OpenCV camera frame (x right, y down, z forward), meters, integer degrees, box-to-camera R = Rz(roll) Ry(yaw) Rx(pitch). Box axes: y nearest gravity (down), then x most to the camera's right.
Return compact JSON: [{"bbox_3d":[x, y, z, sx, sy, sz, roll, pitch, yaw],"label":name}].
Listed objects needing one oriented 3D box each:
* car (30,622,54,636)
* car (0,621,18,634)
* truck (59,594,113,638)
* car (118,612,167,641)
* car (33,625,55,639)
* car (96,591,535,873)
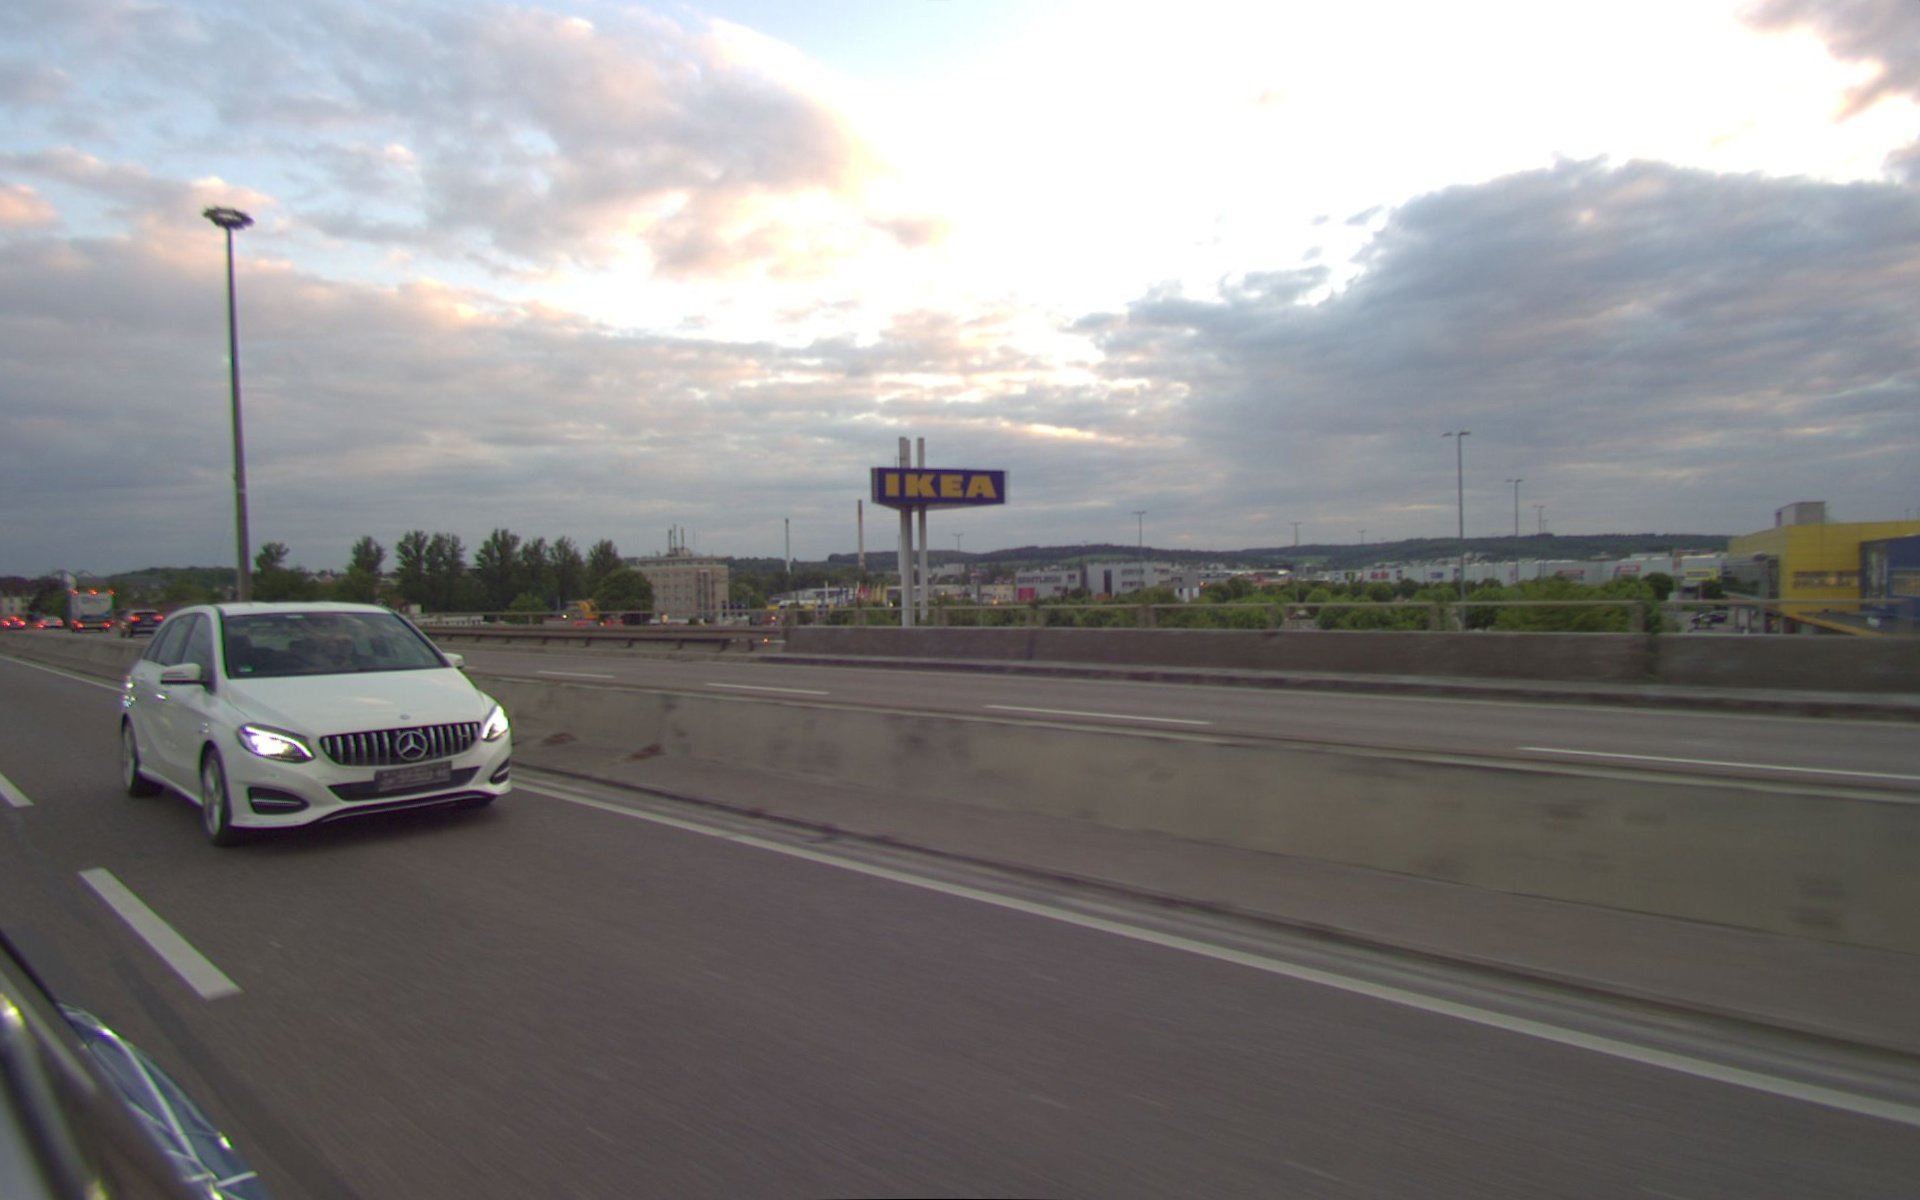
[{"bbox_3d":[-105.671,3.352,116.471,4.818,1.514,1.810,-1,-1,45],"label":"car"},{"bbox_3d":[-109.516,3.161,116.318,3.836,1.452,1.611,-2,-1,43],"label":"car"},{"bbox_3d":[-69.370,1.236,80.271,7.448,3.321,2.507,-1,0,44],"label":"truck"},{"bbox_3d":[-48.429,1.544,59.910,1.953,1.618,4.446,-1,0,-43],"label":"car"},{"bbox_3d":[-129.028,4.466,142.516,5.460,1.915,1.880,-1,0,44],"label":"car"},{"bbox_3d":[-5.214,0.825,7.846,4.782,1.549,1.673,-3,-2,42],"label":"car"}]
